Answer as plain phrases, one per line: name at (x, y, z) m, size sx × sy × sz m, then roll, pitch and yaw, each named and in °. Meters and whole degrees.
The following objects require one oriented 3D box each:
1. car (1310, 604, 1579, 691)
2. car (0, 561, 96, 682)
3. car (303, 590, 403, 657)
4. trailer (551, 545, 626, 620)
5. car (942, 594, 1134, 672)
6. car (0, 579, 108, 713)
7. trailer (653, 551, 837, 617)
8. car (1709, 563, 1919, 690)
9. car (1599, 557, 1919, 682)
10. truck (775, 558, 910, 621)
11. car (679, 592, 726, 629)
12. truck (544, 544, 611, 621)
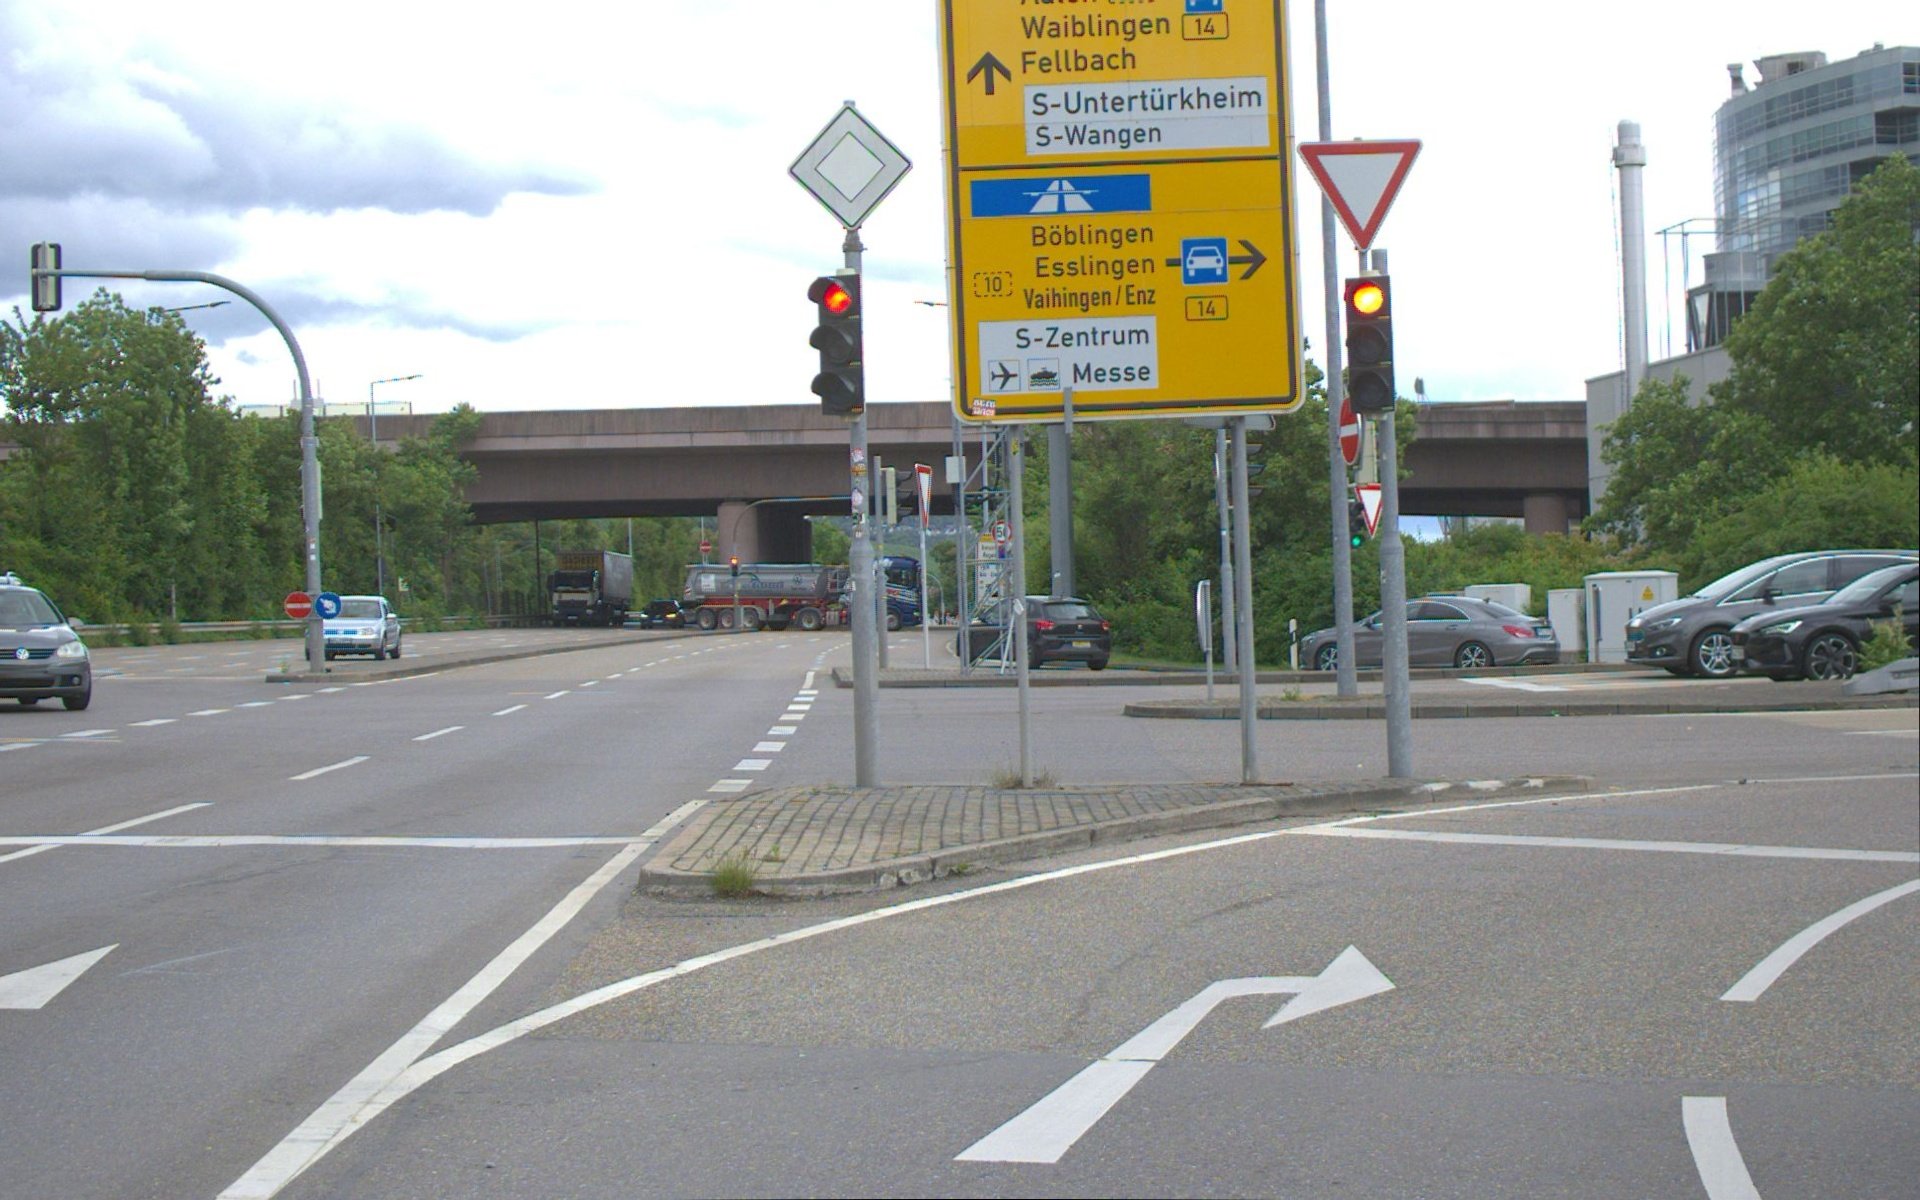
car at (8.295, 0.839, 58.934) m, size 4.104 × 1.437 × 1.996 m, roll -1°, pitch -2°, yaw 32°
car at (-14.382, 0.308, 51.599) m, size 1.724 × 1.731 × 4.556 m, roll -1°, pitch 1°, yaw -1°
car at (-13.544, 0.497, 76.889) m, size 1.724 × 1.396 × 4.067 m, roll -1°, pitch 1°, yaw -3°
trailer at (-20.948, -1.039, 194.232) m, size 2.871 × 4.070 × 11.427 m, roll 1°, pitch 1°, yaw 0°
car at (1.494, 0.676, 67.669) m, size 1.993 × 1.459 × 4.110 m, roll 1°, pitch -2°, yaw -29°
car at (-11.433, 0.552, 39.637) m, size 1.724 × 1.457 × 4.243 m, roll 2°, pitch -2°, yaw -34°
trailer at (-10.162, -0.758, 162.242) m, size 8.557 × 2.615 × 2.605 m, roll 3°, pitch 0°, yaw 30°
car at (11.689, 0.290, 41.915) m, size 4.604 × 1.452 × 1.956 m, roll -1°, pitch 1°, yaw -6°
car at (11.091, 0.245, 45.930) m, size 4.678 × 1.566 × 1.956 m, roll -1°, pitch 1°, yaw -3°
truck at (-5.458, -0.489, 160.528) m, size 5.763 × 2.615 × 2.620 m, roll 3°, pitch 0°, yaw 10°
car at (-13.964, 0.553, 186.551) m, size 1.994 × 1.853 × 4.000 m, roll 2°, pitch 1°, yaw 3°
truck at (-20.965, -0.986, 188.712) m, size 2.871 × 4.070 × 6.487 m, roll 1°, pitch 1°, yaw 0°
